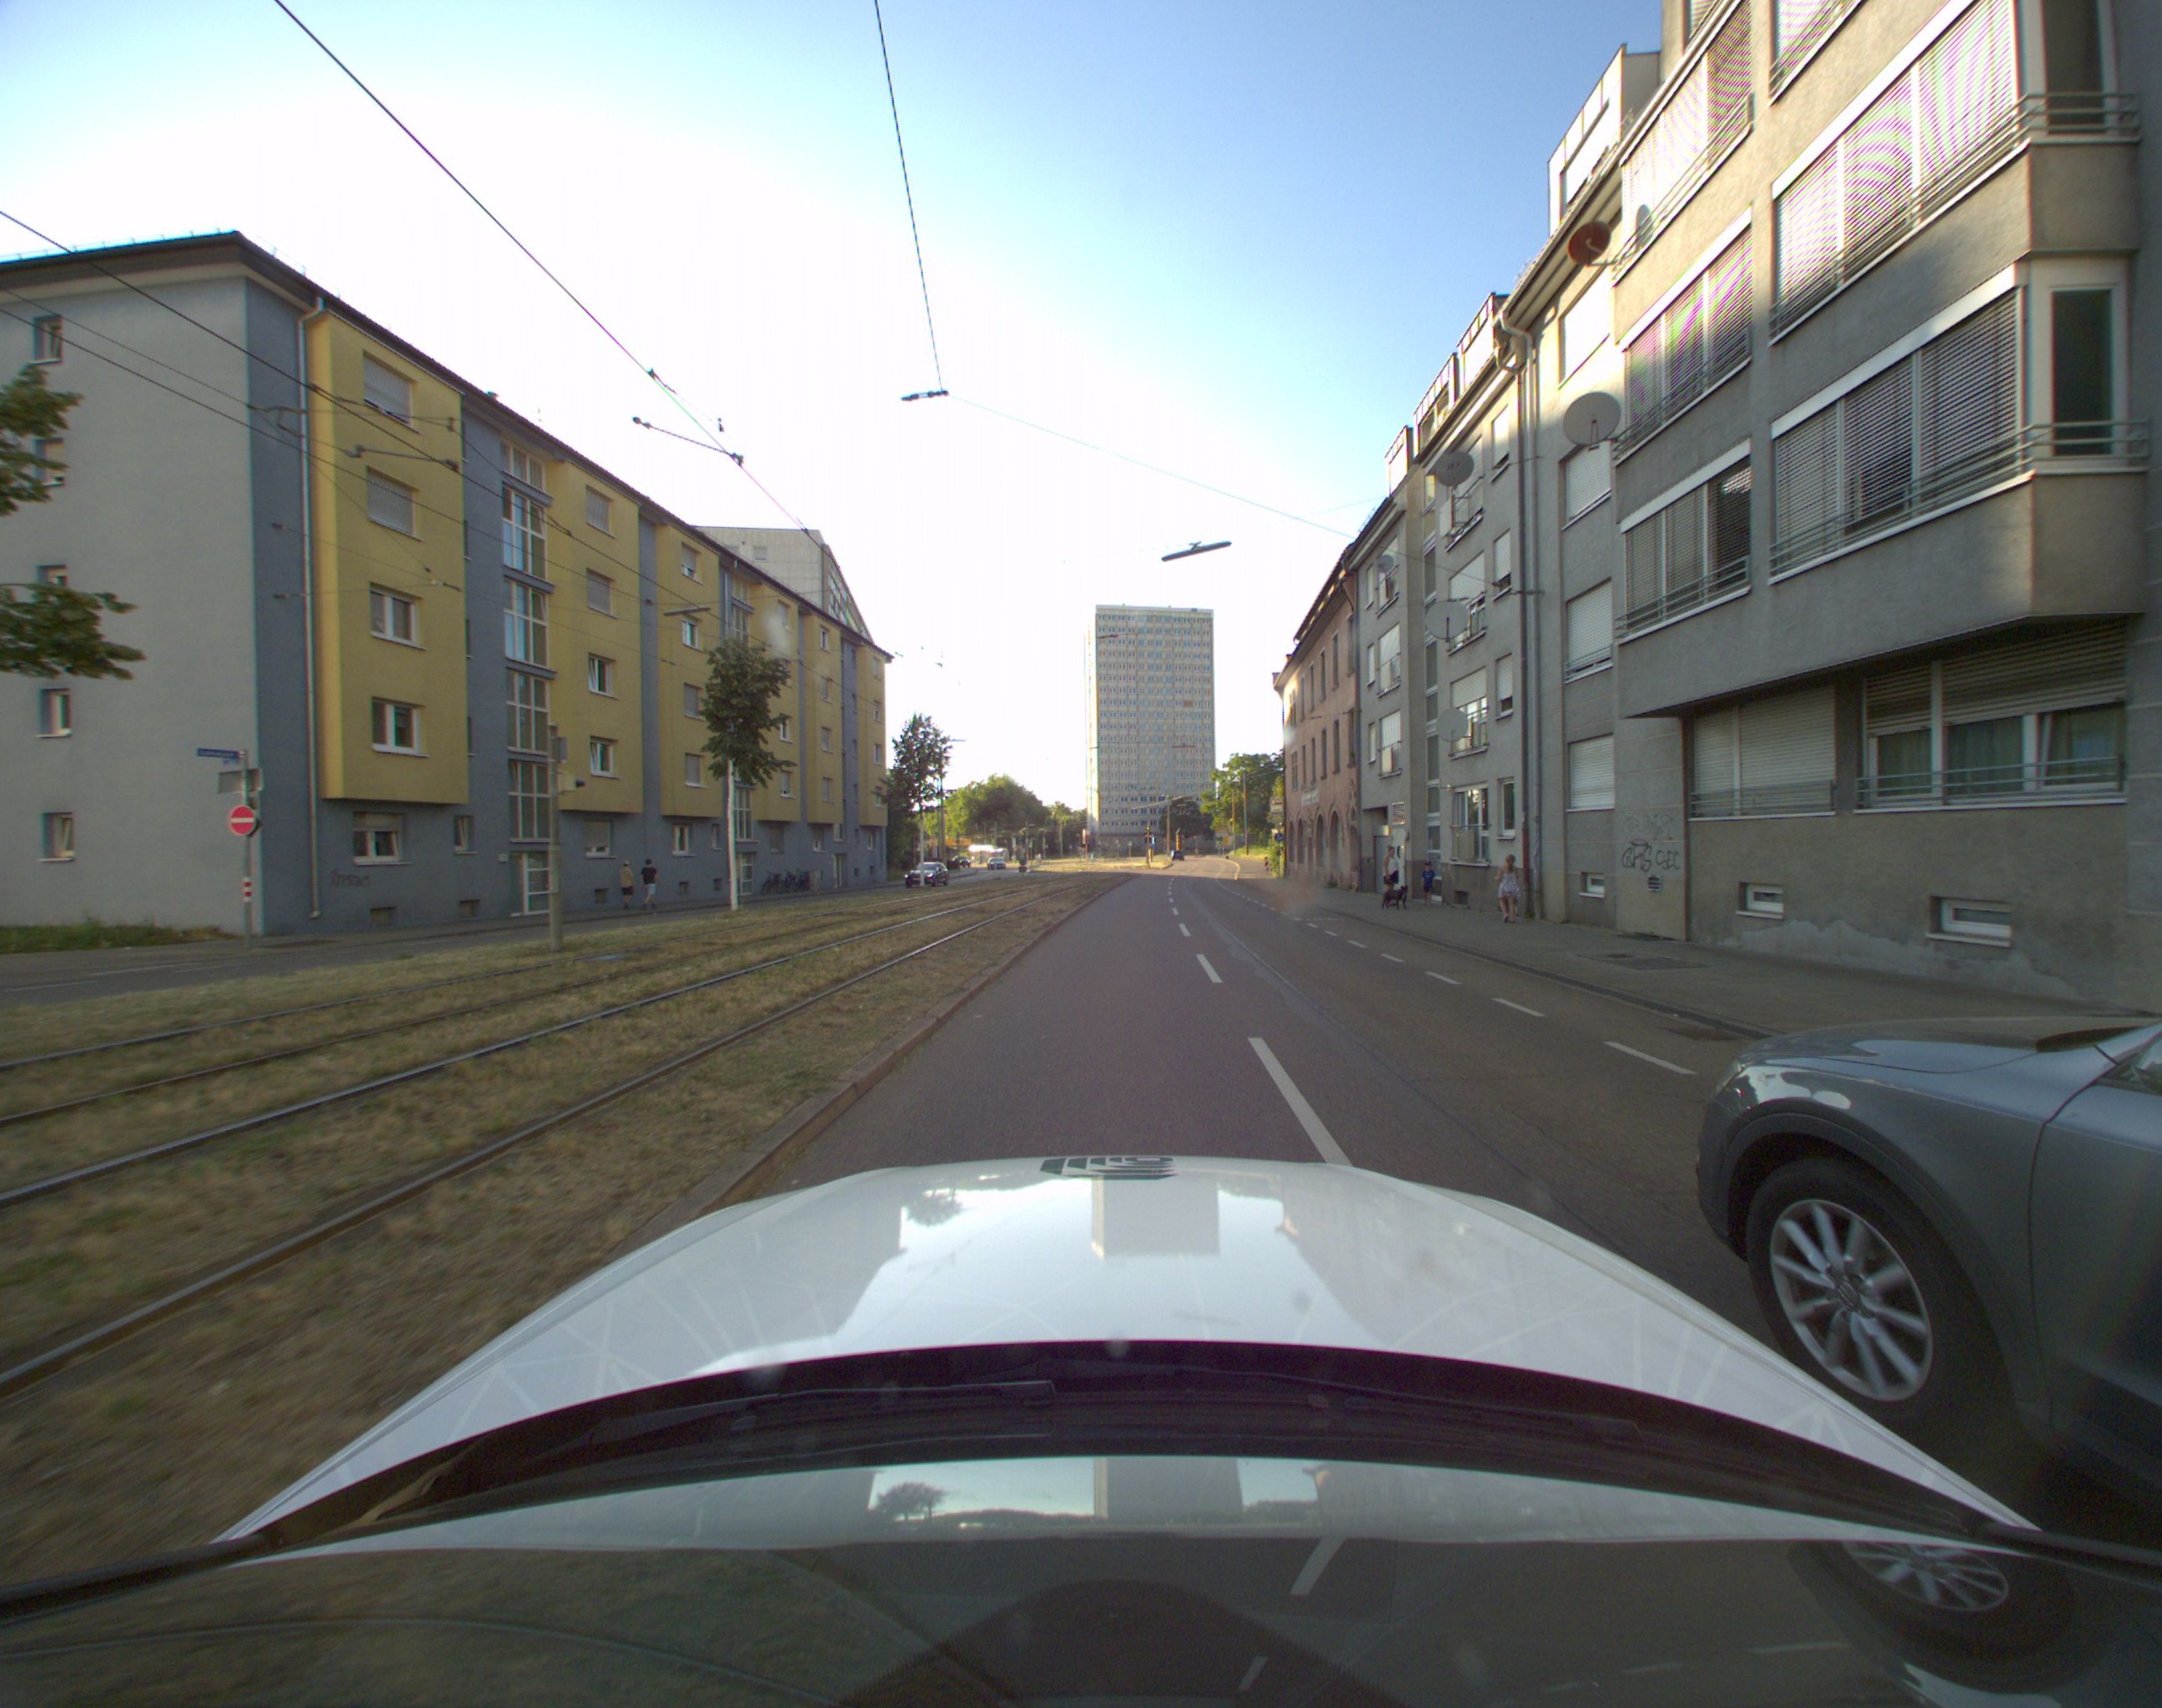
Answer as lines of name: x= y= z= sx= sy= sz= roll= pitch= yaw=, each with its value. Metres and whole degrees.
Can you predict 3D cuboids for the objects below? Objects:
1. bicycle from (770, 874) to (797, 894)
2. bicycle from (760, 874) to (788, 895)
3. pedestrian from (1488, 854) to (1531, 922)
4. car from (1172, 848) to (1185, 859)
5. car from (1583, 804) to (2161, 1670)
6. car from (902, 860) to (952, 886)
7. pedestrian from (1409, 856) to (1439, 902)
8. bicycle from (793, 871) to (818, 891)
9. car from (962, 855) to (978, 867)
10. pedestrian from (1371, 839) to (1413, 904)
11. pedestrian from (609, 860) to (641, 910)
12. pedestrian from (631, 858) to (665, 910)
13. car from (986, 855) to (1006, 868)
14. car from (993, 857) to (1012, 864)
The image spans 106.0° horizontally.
bicycle: x=-14.852 y=1.482 z=40.729 sx=0.425 sy=0.925 sz=1.915 roll=2 pitch=0 yaw=7
bicycle: x=-14.846 y=1.483 z=39.448 sx=0.425 sy=0.925 sz=1.915 roll=2 pitch=0 yaw=7
pedestrian: x=8.695 y=0.686 z=16.541 sx=0.512 sy=1.344 sz=0.609 roll=-2 pitch=-1 yaw=1
car: x=13.489 y=-0.109 z=112.583 sx=1.763 sy=1.422 sz=3.864 roll=-2 pitch=0 yaw=7
car: x=2.843 y=0.689 z=1.154 sx=1.761 sy=1.587 sz=4.068 roll=-1 pitch=1 yaw=0
car: x=-9.488 y=1.159 z=50.631 sx=1.785 sy=1.469 sz=4.801 roll=-3 pitch=-1 yaw=4
pedestrian: x=9.487 y=0.686 z=22.525 sx=0.584 sy=1.251 sz=0.585 roll=-2 pitch=0 yaw=5
bicycle: x=-14.571 y=1.431 z=43.138 sx=0.425 sy=0.960 sz=1.915 roll=-1 pitch=0 yaw=7
car: x=-16.305 y=0.958 z=119.216 sx=1.920 sy=1.662 sz=4.688 roll=-2 pitch=1 yaw=-13
pedestrian: x=8.695 y=0.473 z=22.822 sx=0.826 sy=1.771 sz=0.997 roll=-2 pitch=0 yaw=5
pedestrian: x=-16.050 y=1.080 z=28.687 sx=0.613 sy=1.694 sz=0.707 roll=3 pitch=1 yaw=5
pedestrian: x=-15.329 y=1.036 z=28.846 sx=0.590 sy=1.773 sz=0.887 roll=3 pitch=1 yaw=5
car: x=-10.302 y=0.866 z=99.148 sx=1.690 sy=1.460 sz=4.319 roll=-3 pitch=0 yaw=3
car: x=-18.492 y=1.579 z=191.743 sx=3.957 sy=1.530 sz=2.009 roll=-1 pitch=0 yaw=16
